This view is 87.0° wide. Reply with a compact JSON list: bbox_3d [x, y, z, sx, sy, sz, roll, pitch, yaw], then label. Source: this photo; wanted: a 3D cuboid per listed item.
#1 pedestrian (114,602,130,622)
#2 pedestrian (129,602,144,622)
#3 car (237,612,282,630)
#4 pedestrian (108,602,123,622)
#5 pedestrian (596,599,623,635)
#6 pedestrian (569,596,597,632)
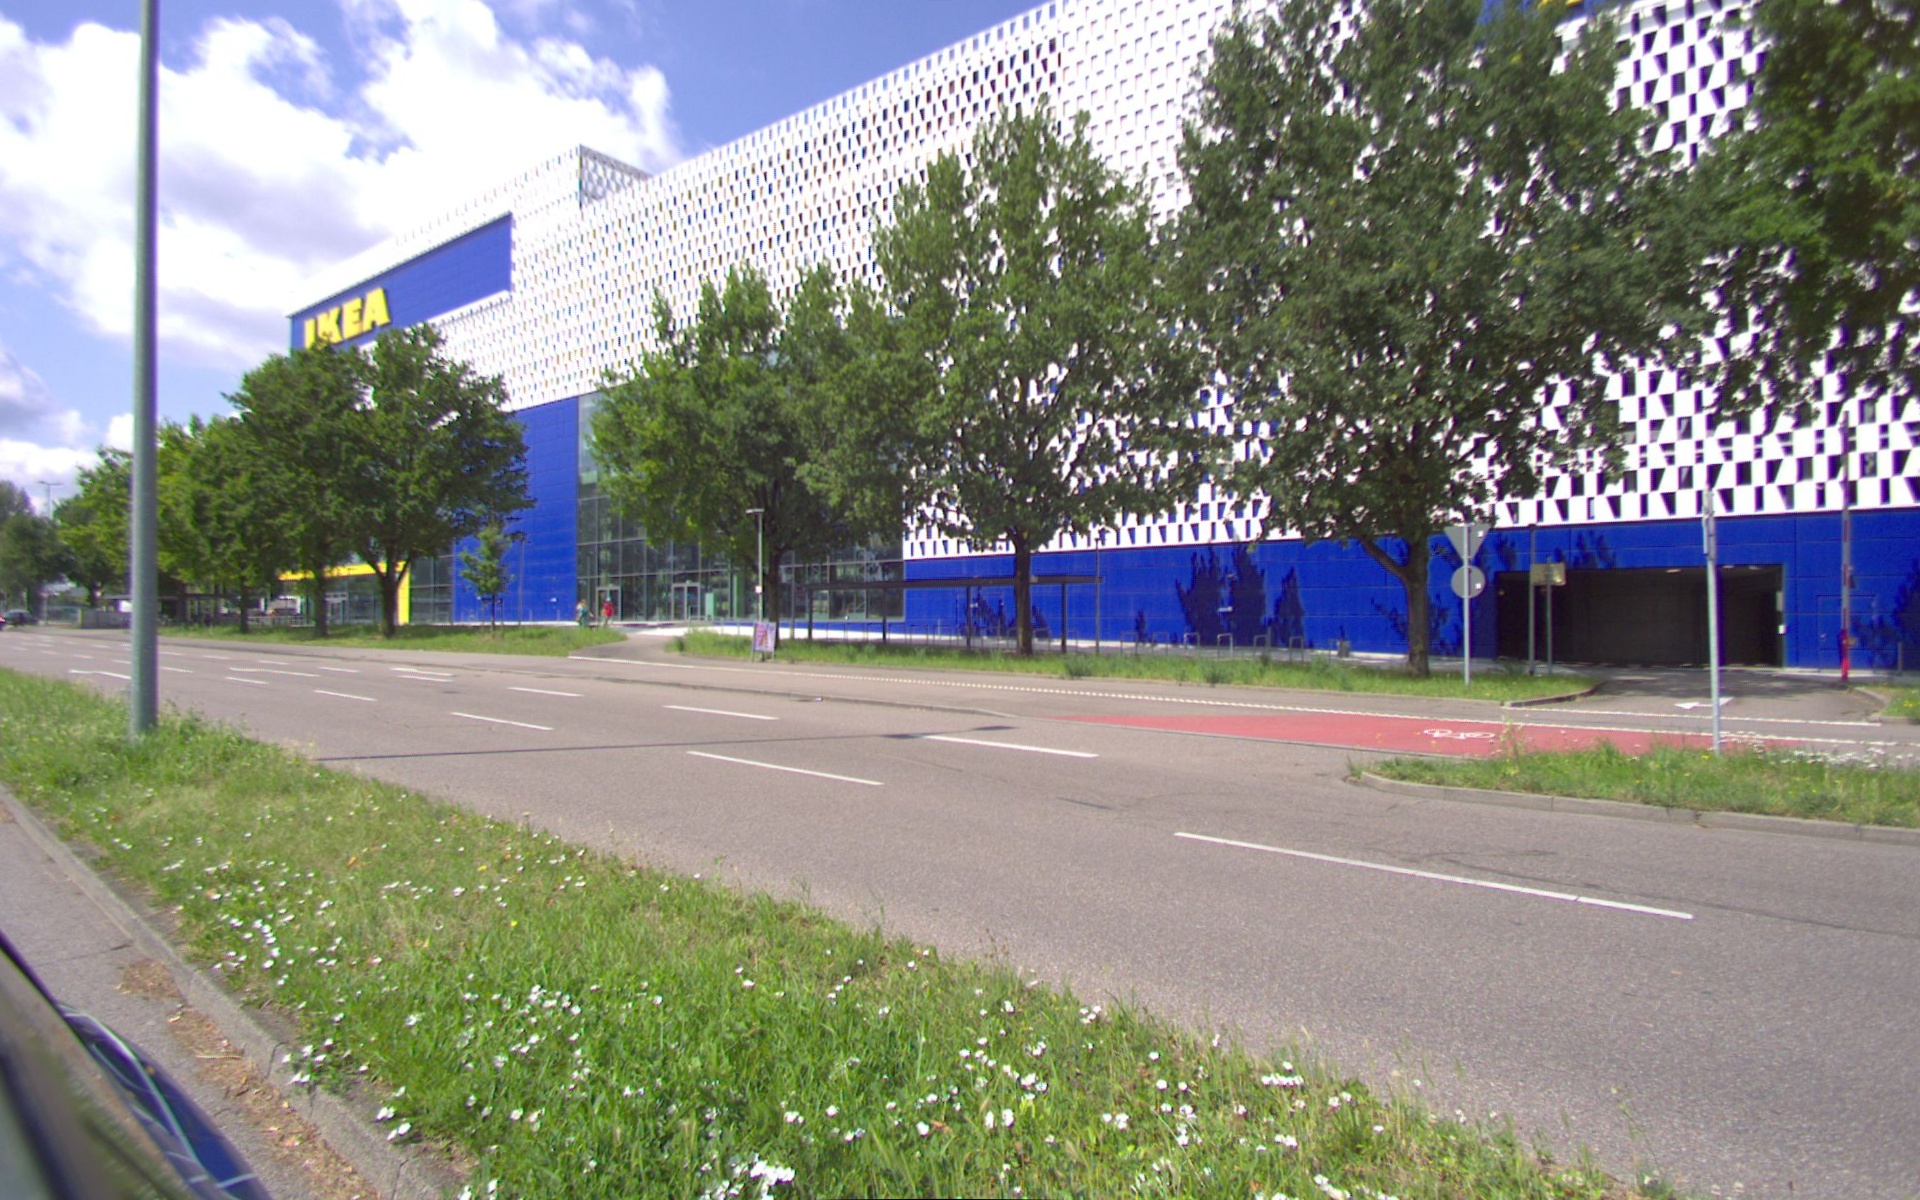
[{"bbox_3d":[-88.362,1.276,106.706,0.807,2.110,1.041,0,0,-8],"label":"pedestrian"},{"bbox_3d":[-87.197,1.269,107.187,0.807,2.110,1.041,0,0,-8],"label":"pedestrian"},{"bbox_3d":[-83.559,2.477,120.768,1.997,2.029,3.949,0,0,38],"label":"car"},{"bbox_3d":[-89.265,1.281,106.981,0.807,2.110,1.041,0,0,-8],"label":"pedestrian"},{"bbox_3d":[-17.461,0.831,50.411,1.165,1.741,0.842,0,0,43],"label":"pedestrian"},{"bbox_3d":[-18.475,0.675,49.565,1.165,1.741,0.842,0,0,43],"label":"pedestrian"}]
